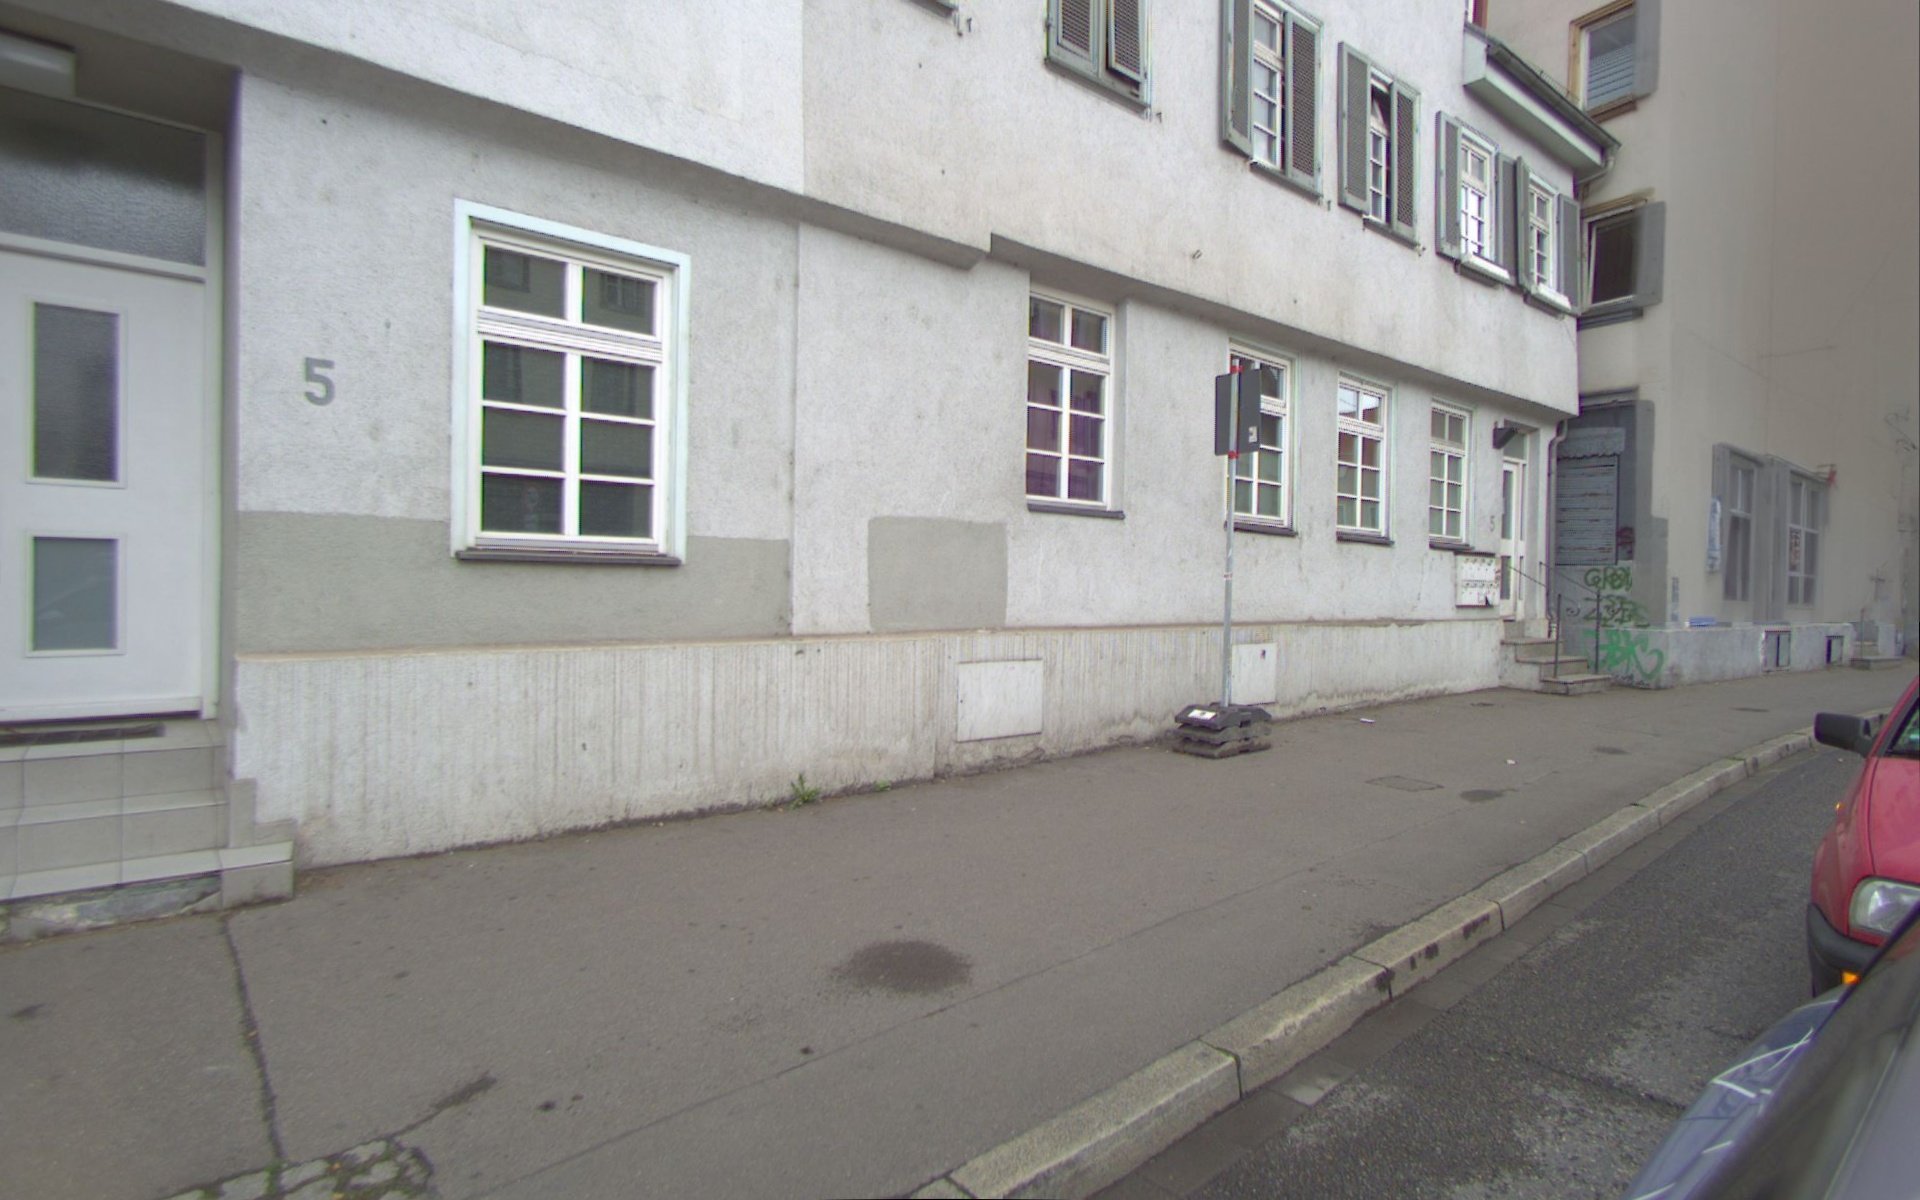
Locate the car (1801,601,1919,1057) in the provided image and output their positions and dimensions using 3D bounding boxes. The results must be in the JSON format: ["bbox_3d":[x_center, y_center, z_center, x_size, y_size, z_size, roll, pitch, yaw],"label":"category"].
[{"bbox_3d":[5.018,0.743,4.121,3.930,1.485,1.802,0,-2,-41],"label":"car"}]
